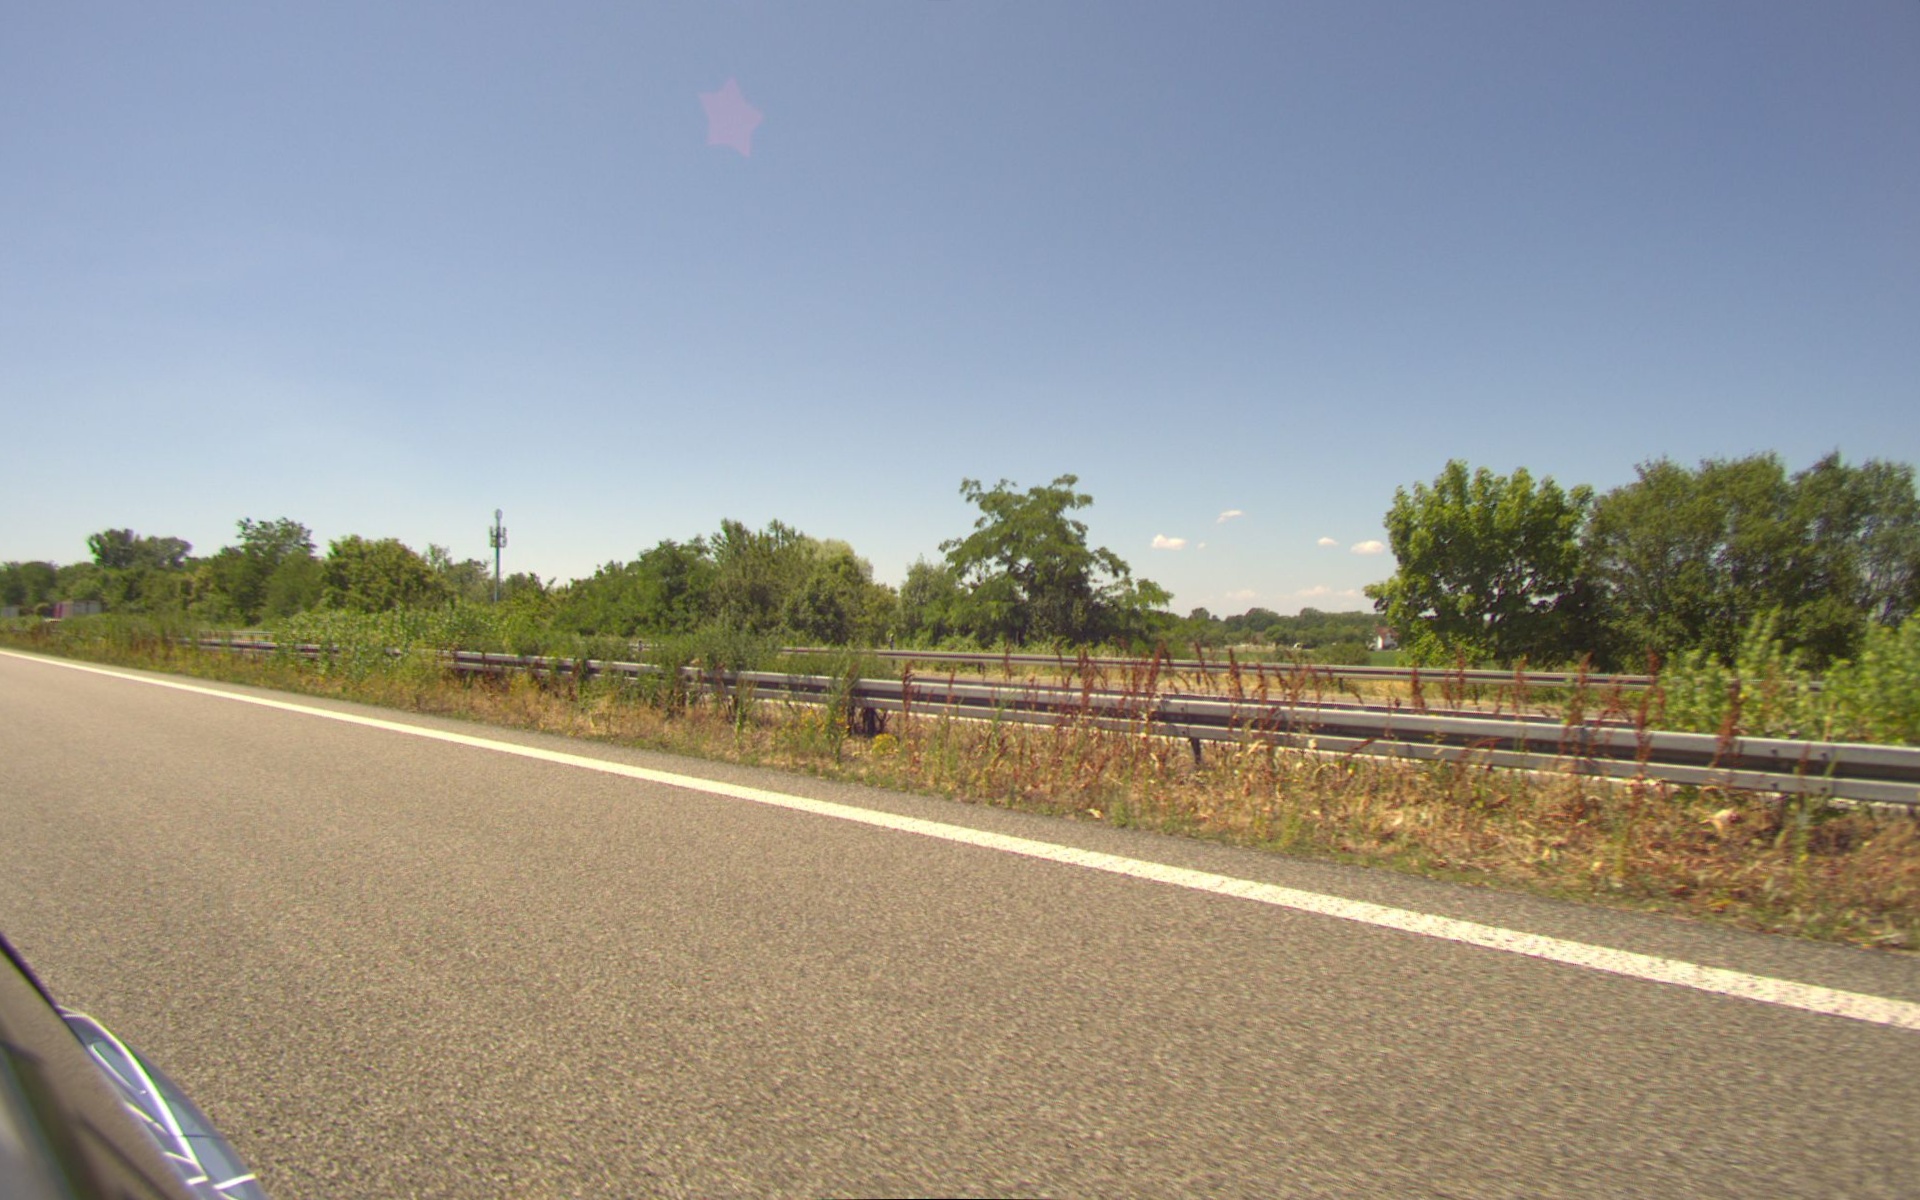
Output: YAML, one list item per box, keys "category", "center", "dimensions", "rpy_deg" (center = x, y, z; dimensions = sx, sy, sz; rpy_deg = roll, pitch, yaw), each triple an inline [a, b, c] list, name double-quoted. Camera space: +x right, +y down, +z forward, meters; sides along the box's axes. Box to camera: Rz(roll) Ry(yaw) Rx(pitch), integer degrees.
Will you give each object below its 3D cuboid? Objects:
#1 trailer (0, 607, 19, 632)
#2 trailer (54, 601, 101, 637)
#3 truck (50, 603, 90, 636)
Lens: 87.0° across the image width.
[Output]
- category: "trailer"
  center: [-159.195, 3.328, 168.233]
  dimensions: [12.316, 4.005, 2.901]
  rpy_deg: [-1, 0, 42]
- category: "trailer"
  center: [-104.899, 2.251, 120.243]
  dimensions: [10.625, 4.005, 2.900]
  rpy_deg: [-1, 0, 42]
- category: "truck"
  center: [-109.166, 2.369, 124.090]
  dimensions: [6.360, 4.006, 2.929]
  rpy_deg: [-1, 0, 42]
